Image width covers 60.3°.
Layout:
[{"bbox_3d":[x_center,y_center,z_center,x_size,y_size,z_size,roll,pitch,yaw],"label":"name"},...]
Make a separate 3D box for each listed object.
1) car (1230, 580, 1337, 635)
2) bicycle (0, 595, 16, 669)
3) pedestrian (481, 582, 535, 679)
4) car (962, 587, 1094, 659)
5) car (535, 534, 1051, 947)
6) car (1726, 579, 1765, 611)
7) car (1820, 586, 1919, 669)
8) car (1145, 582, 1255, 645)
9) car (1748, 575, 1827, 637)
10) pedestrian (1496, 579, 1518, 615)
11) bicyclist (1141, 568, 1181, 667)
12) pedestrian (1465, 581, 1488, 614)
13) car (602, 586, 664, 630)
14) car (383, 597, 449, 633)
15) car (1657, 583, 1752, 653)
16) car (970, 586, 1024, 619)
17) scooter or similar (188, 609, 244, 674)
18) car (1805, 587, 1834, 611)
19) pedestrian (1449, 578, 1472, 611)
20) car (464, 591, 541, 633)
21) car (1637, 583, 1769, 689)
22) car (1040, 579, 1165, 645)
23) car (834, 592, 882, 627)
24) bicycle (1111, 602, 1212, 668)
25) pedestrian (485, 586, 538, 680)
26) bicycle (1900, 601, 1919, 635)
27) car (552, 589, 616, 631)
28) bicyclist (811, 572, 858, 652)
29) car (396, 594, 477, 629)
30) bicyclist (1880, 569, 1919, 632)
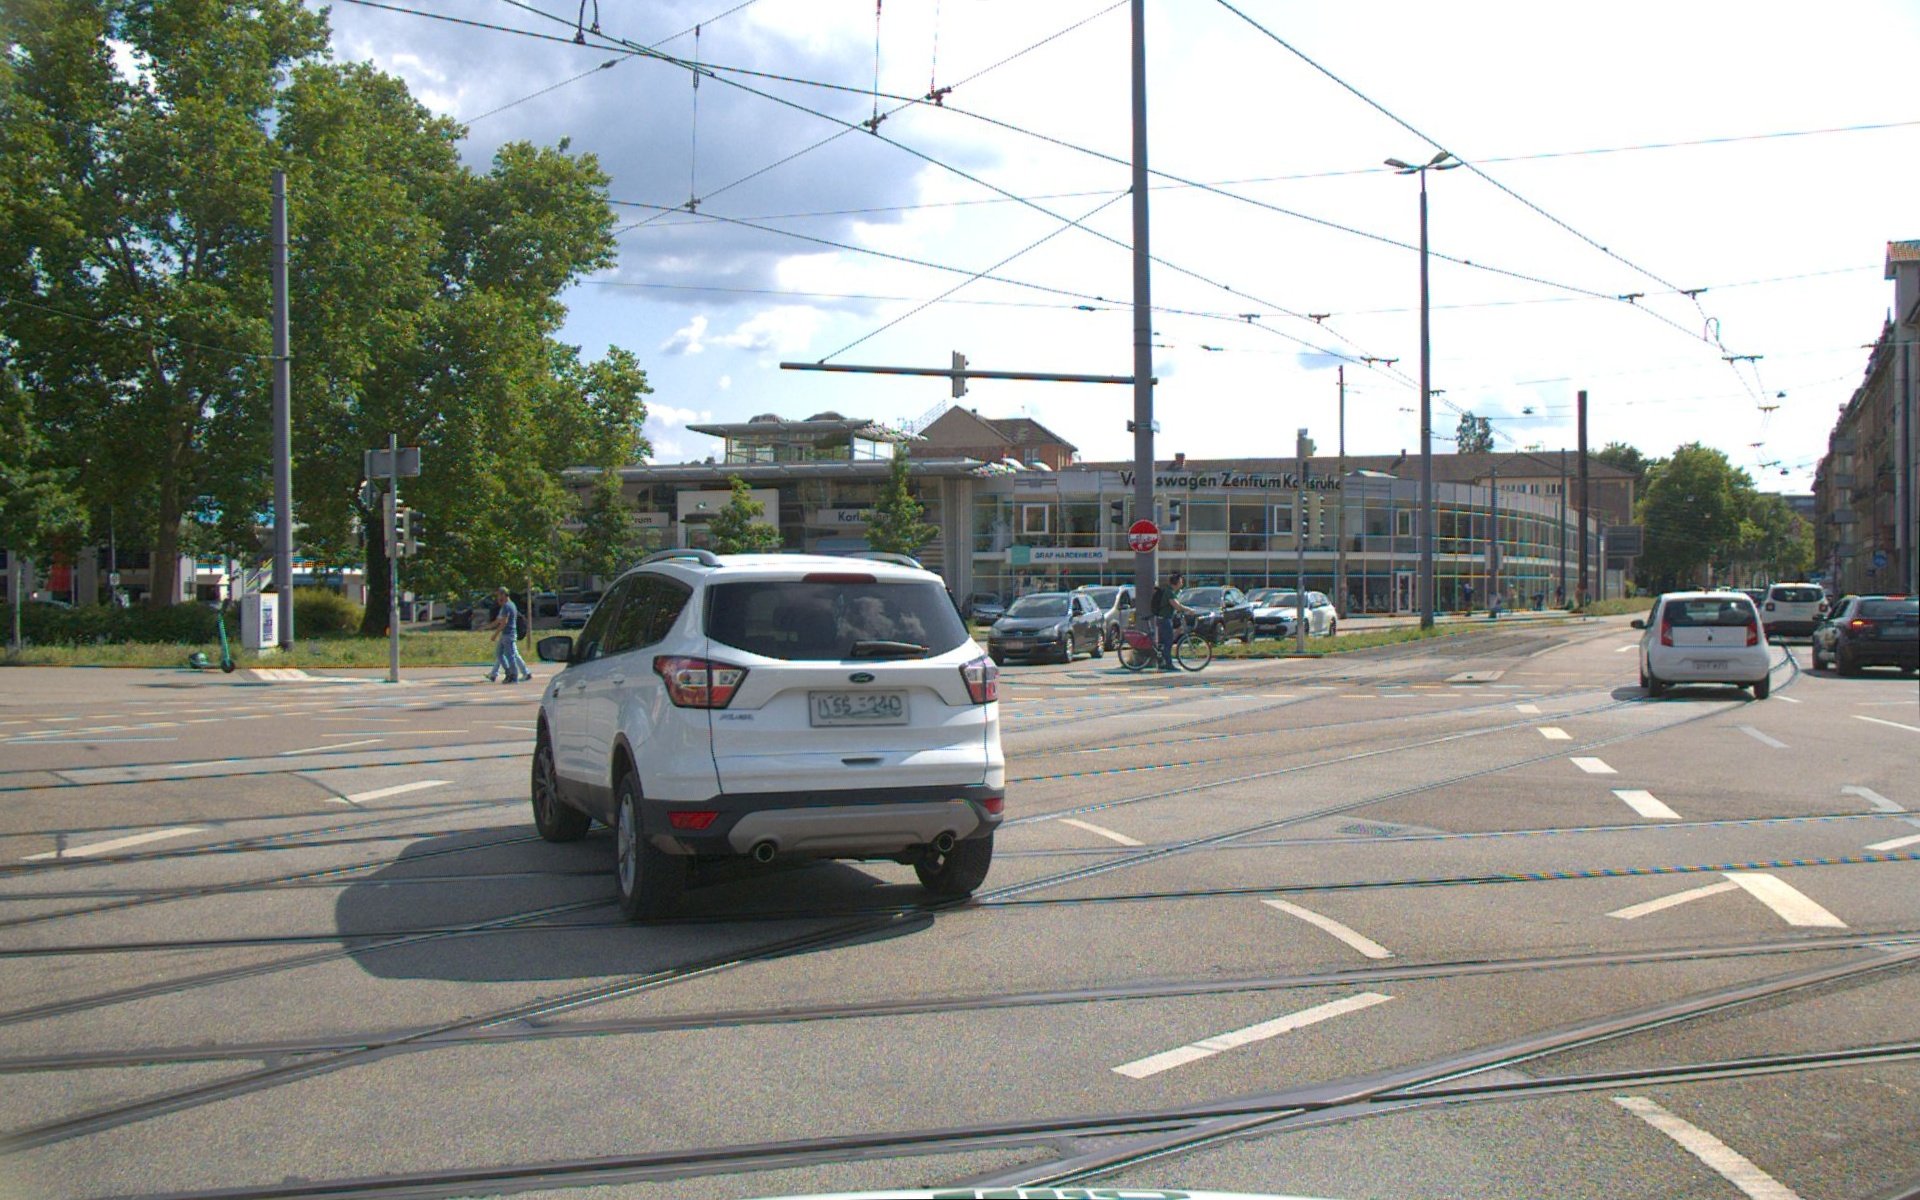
[{"bbox_3d":[9.393,0.193,47.774,1.864,1.487,3.962,-1,0,29],"label":"car"},{"bbox_3d":[-19.945,0.623,32.640,2.127,1.439,0.811,1,1,-8],"label":"bicycle"},{"bbox_3d":[-8.421,0.557,30.804,0.910,1.774,0.586,2,0,-19],"label":"pedestrian"},{"bbox_3d":[1.490,0.458,34.835,1.701,1.397,3.642,-1,0,21],"label":"car"},{"bbox_3d":[-1.138,0.570,8.956,1.801,1.693,3.930,-1,0,-21],"label":"car"},{"bbox_3d":[41.833,-0.245,88.047,1.801,1.681,3.995,1,0,27],"label":"car"},{"bbox_3d":[16.848,0.457,30.249,1.664,1.396,4.131,0,0,23],"label":"car"},{"bbox_3d":[6.102,0.319,41.728,1.655,1.487,3.966,-1,0,25],"label":"car"},{"bbox_3d":[23.328,0.170,46.726,1.799,1.681,3.998,1,0,24],"label":"car"},{"bbox_3d":[30.823,-0.165,93.175,0.862,1.956,0.871,1,0,40],"label":"pedestrian"},{"bbox_3d":[3.662,0.303,30.099,0.646,1.768,0.640,1,1,15],"label":"bicyclist"},{"bbox_3d":[28.483,-0.133,91.187,0.863,1.767,0.870,1,0,43],"label":"pedestrian"},{"bbox_3d":[-16.016,0.405,81.289,1.952,2.049,4.232,-2,-1,3],"label":"car"},{"bbox_3d":[-28.559,0.789,86.773,1.828,1.821,3.935,0,-2,-44],"label":"car"},{"bbox_3d":[16.499,0.374,36.601,1.813,1.443,3.676,1,0,25],"label":"car"},{"bbox_3d":[1.886,0.136,83.049,1.779,1.560,3.920,-2,-1,15],"label":"car"},{"bbox_3d":[-14.347,0.788,31.880,1.150,1.214,0.398,1,0,33],"label":"scooter or similar"},{"bbox_3d":[60.663,-0.056,116.783,1.801,1.681,3.995,1,0,27],"label":"car"},{"bbox_3d":[27.085,-0.280,89.490,0.863,1.767,0.870,1,0,43],"label":"pedestrian"},{"bbox_3d":[-22.986,0.612,83.308,1.926,1.971,5.072,-2,-1,7],"label":"car"},{"bbox_3d":[11.099,0.485,24.904,1.615,1.446,4.000,-1,1,22],"label":"car"},{"bbox_3d":[3.730,0.295,42.789,1.705,1.600,3.993,-1,0,30],"label":"car"},{"bbox_3d":[-4.790,0.445,78.171,1.780,1.560,3.918,-2,-1,3],"label":"car"},{"bbox_3d":[3.662,0.626,30.069,1.741,1.145,0.640,0,1,15],"label":"bicycle"},{"bbox_3d":[-8.670,0.633,31.973,0.909,1.774,0.586,2,0,-19],"label":"pedestrian"},{"bbox_3d":[23.057,0.436,39.311,0.572,0.789,1.622,0,0,3],"label":"bicycle"},{"bbox_3d":[-18.564,0.506,81.876,1.926,1.971,4.232,-2,-1,3],"label":"car"},{"bbox_3d":[-2.742,0.254,36.197,0.744,1.712,0.760,-1,0,22],"label":"bicyclist"},{"bbox_3d":[-28.882,0.628,91.309,3.902,1.821,1.843,-1,-1,15],"label":"car"},{"bbox_3d":[22.384,0.017,39.397,0.595,1.476,0.775,0,0,8],"label":"bicyclist"}]
